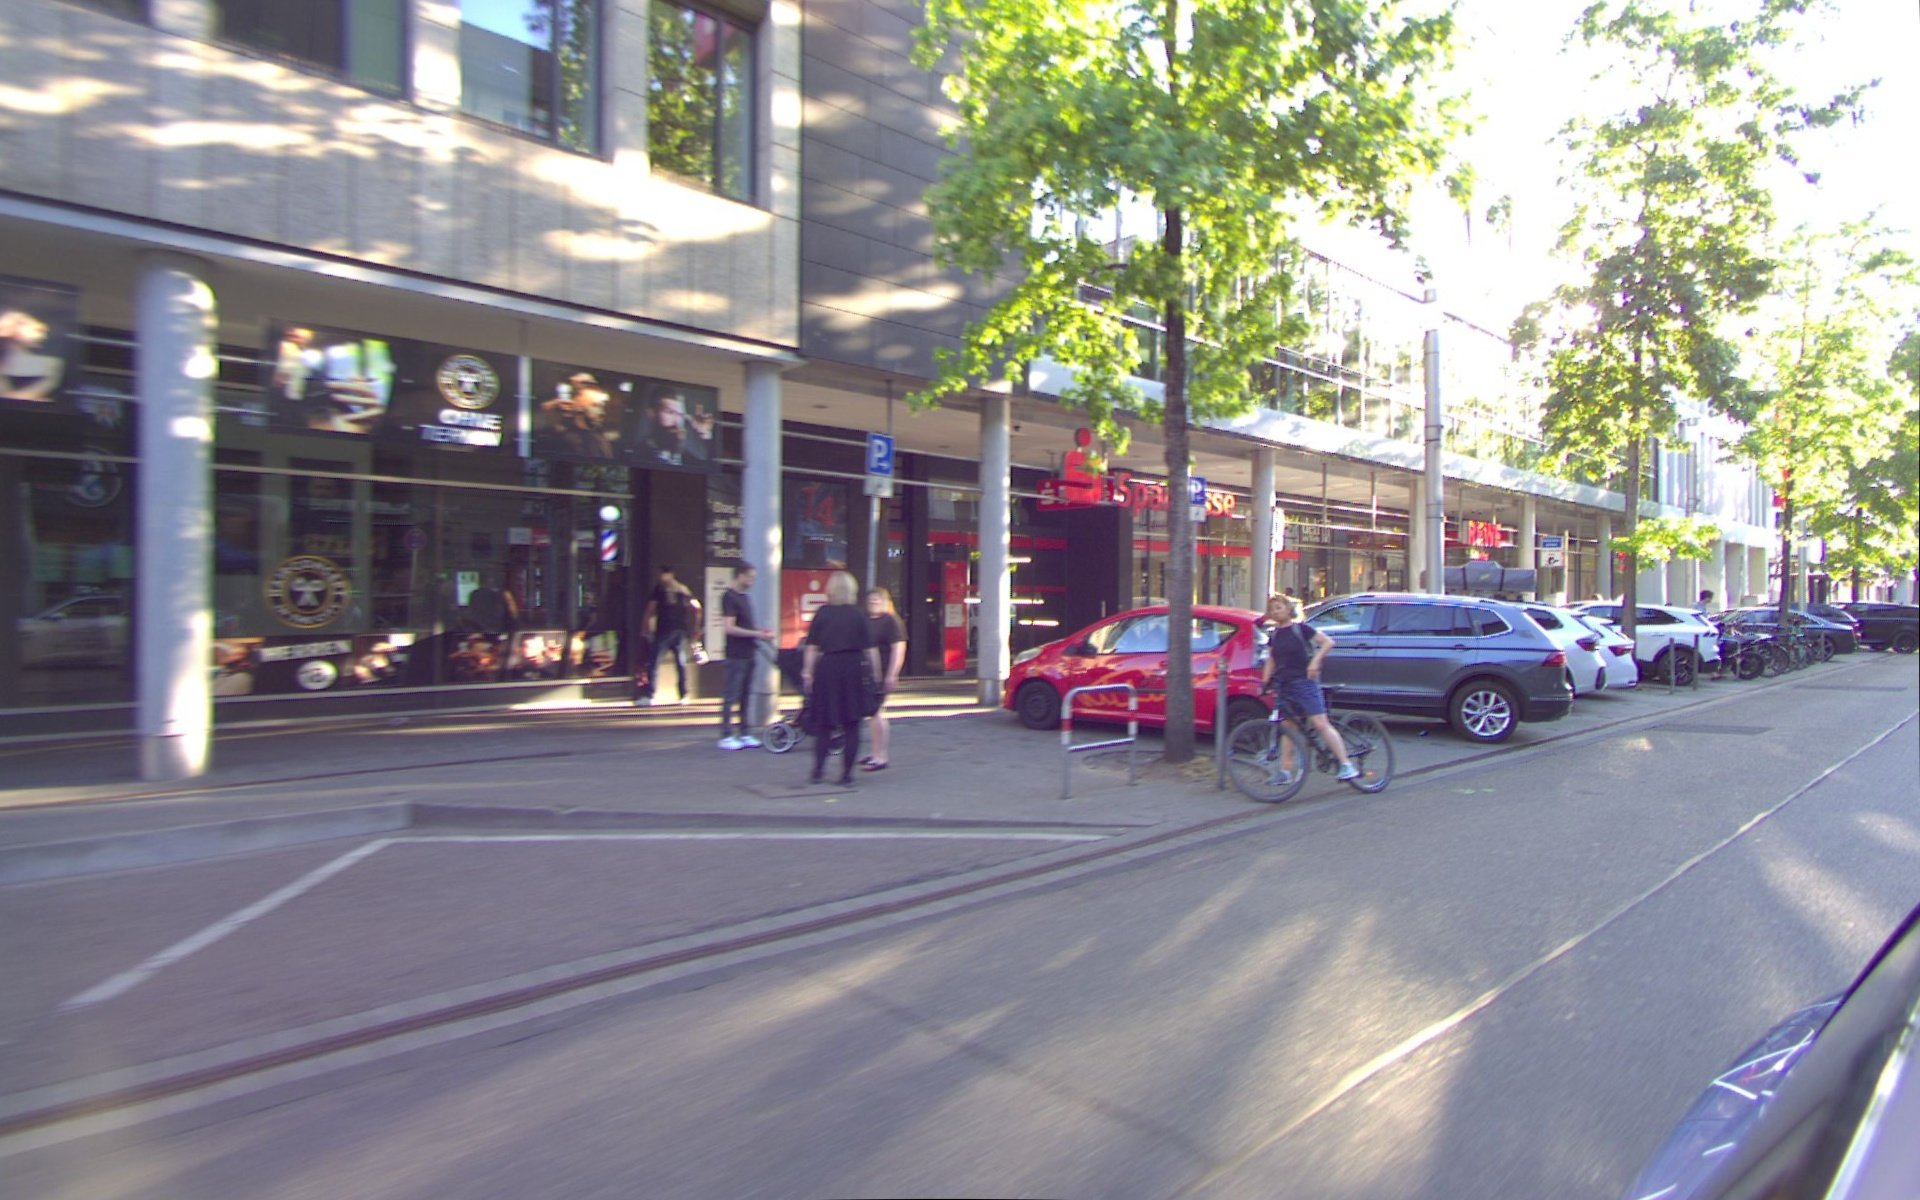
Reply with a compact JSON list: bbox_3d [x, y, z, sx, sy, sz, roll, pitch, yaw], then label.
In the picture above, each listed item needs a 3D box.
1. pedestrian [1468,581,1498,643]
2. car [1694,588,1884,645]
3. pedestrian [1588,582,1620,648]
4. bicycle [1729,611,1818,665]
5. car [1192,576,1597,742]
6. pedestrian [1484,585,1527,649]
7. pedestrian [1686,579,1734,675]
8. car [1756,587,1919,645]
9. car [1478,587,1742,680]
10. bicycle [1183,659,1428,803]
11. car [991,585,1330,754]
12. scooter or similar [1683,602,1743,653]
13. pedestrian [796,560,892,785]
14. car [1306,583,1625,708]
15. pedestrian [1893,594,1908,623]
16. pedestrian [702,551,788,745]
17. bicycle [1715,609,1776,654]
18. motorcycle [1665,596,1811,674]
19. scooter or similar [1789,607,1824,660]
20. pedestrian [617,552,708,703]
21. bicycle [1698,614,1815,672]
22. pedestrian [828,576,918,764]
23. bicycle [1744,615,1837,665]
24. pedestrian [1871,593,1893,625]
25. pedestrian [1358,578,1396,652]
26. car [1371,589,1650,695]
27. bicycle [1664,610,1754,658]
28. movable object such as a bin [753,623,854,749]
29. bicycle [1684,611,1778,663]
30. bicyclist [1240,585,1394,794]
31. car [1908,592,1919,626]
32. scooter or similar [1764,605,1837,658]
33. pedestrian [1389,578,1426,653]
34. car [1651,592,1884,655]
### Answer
[{"bbox_3d":[15.147,0.340,29.321,0.515,1.772,0.558,0,2,-41],"label":"pedestrian"},{"bbox_3d":[28.448,0.524,34.955,4.620,1.675,1.991,3,2,26],"label":"car"},{"bbox_3d":[17.095,0.399,26.877,0.677,1.718,0.543,0,0,37],"label":"pedestrian"},{"bbox_3d":[19.215,0.900,23.913,1.662,1.177,0.481,2,2,-1],"label":"bicycle"},{"bbox_3d":[5.176,0.616,12.611,4.299,1.672,1.685,3,2,18],"label":"car"},{"bbox_3d":[14.512,0.446,26.931,0.867,1.644,0.715,0,1,-40],"label":"pedestrian"},{"bbox_3d":[15.559,0.541,20.988,0.651,1.942,0.584,0,2,-39],"label":"pedestrian"},{"bbox_3d":[31.770,0.537,36.237,4.610,1.785,1.982,3,2,20],"label":"car"},{"bbox_3d":[13.150,0.628,20.769,4.102,1.590,1.845,3,2,16],"label":"car"},{"bbox_3d":[2.892,1.032,8.427,2.017,1.008,0.721,0,-2,-27],"label":"bicycle"},{"bbox_3d":[2.233,0.650,11.382,3.370,1.499,1.650,3,2,30],"label":"car"},{"bbox_3d":[21.079,0.740,28.366,0.622,1.309,1.675,3,2,11],"label":"scooter or similar"},{"bbox_3d":[-0.930,0.547,8.073,0.682,1.706,0.682,2,2,-8],"label":"pedestrian"},{"bbox_3d":[7.729,0.630,15.970,4.194,1.607,1.874,3,2,18],"label":"car"},{"bbox_3d":[61.616,0.565,66.298,0.624,1.854,0.689,0,0,-42],"label":"pedestrian"},{"bbox_3d":[-2.014,0.427,9.549,0.621,1.753,0.689,2,1,1],"label":"pedestrian"},{"bbox_3d":[21.773,0.851,28.089,0.543,1.121,1.843,3,2,13],"label":"bicycle"},{"bbox_3d":[16.622,0.724,21.673,2.278,1.528,0.858,2,2,6],"label":"motorcycle"},{"bbox_3d":[22.044,0.854,26.358,1.284,1.291,0.451,0,4,-43],"label":"scooter or similar"},{"bbox_3d":[-3.730,0.329,12.701,0.833,1.807,0.781,1,0,-42],"label":"pedestrian"},{"bbox_3d":[17.711,0.941,22.561,1.873,1.133,0.663,3,2,21],"label":"bicycle"},{"bbox_3d":[-0.752,0.586,8.914,0.677,1.571,0.607,2,1,3],"label":"pedestrian"},{"bbox_3d":[20.830,0.981,25.421,1.544,1.102,0.864,4,1,19],"label":"bicycle"},{"bbox_3d":[56.385,0.544,61.909,0.901,1.921,0.836,1,1,-39],"label":"pedestrian"},{"bbox_3d":[10.150,0.364,24.655,0.589,1.765,0.625,0,1,-41],"label":"pedestrian"},{"bbox_3d":[9.577,0.660,17.951,4.118,1.517,1.674,3,2,26],"label":"car"},{"bbox_3d":[19.216,0.865,26.001,1.653,1.088,0.728,4,1,19],"label":"bicycle"},{"bbox_3d":[-1.459,0.787,9.546,0.818,1.077,0.689,2,2,1],"label":"movable object such as a bin"},{"bbox_3d":[18.846,0.896,24.776,1.676,1.119,0.627,3,3,23],"label":"bicycle"},{"bbox_3d":[2.974,0.705,8.474,0.894,1.634,0.781,0,-2,-27],"label":"bicyclist"},{"bbox_3d":[53.428,0.517,55.260,4.824,1.759,2.026,0,3,-43],"label":"car"},{"bbox_3d":[22.566,0.841,27.194,1.289,1.291,0.561,4,3,18],"label":"scooter or similar"},{"bbox_3d":[10.820,0.363,24.471,0.589,1.765,0.625,0,1,-43],"label":"pedestrian"},{"bbox_3d":[23.995,0.655,30.300,4.986,1.487,1.970,3,2,14],"label":"car"}]
